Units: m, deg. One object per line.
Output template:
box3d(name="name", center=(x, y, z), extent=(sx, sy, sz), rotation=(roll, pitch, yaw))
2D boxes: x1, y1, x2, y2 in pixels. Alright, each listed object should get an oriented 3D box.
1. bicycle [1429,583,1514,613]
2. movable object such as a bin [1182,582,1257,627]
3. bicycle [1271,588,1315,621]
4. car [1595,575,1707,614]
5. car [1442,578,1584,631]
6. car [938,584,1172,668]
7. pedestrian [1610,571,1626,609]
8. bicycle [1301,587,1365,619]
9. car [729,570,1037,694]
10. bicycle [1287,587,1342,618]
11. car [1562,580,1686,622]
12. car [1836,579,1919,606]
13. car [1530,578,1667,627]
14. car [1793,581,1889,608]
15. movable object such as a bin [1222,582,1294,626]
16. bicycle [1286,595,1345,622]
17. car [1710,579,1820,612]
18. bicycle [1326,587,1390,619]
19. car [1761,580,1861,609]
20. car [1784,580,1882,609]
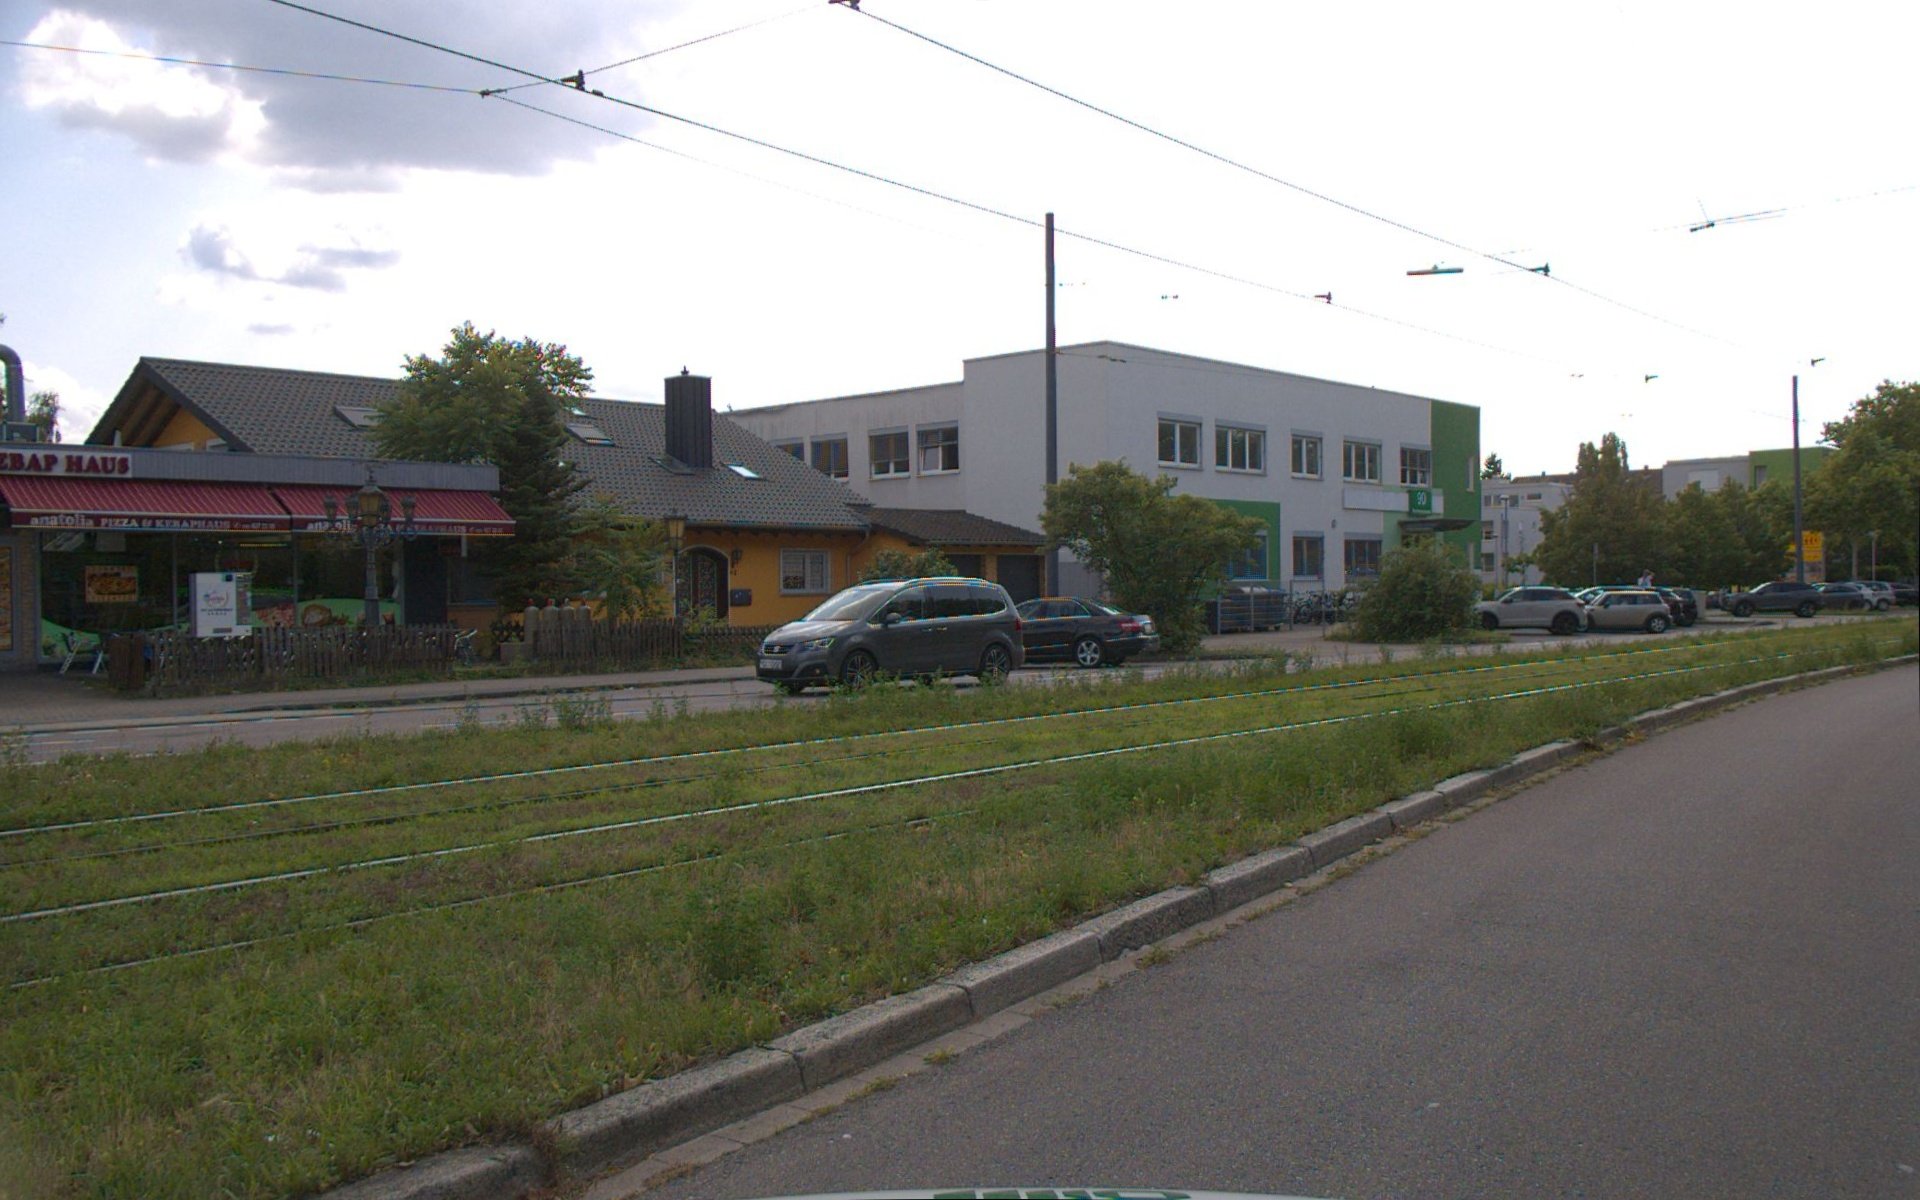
box3d(name="bicycle", center=(20.734, -0.082, 67.042), extent=(3.083, 1.186, 1.137), rotation=(-1, 0, 38))
box3d(name="movable object such as a bin", center=(8.201, 0.135, 52.164), extent=(2.101, 1.349, 1.354), rotation=(-1, 0, -45))
box3d(name="bicycle", center=(12.210, 0.152, 60.667), extent=(0.696, 1.186, 1.604), rotation=(-1, 0, -31))
box3d(name="car", center=(27.887, -0.210, 66.896), extent=(4.070, 1.530, 1.861), rotation=(0, 0, 20))
box3d(name="car", center=(18.364, 0.150, 55.068), extent=(4.209, 1.657, 1.904), rotation=(-1, 0, 9))
box3d(name="car", center=(2.000, 0.540, 34.789), extent=(4.471, 1.608, 2.000), rotation=(-2, 0, 22))
box3d(name="pedestrian", center=(29.903, -0.449, 75.152), extent=(0.585, 1.704, 0.540), rotation=(-1, 0, 33))
box3d(name="bicycle", center=(14.034, 0.118, 62.291), extent=(0.754, 1.186, 2.315), rotation=(-1, 0, -42))
box3d(name="car", center=(-1.120, 0.433, 25.987), extent=(4.703, 1.752, 1.968), rotation=(-1, 0, -43))
box3d(name="bicycle", center=(12.634, 0.098, 58.966), extent=(1.764, 1.100, 0.733), rotation=(-1, 0, 40))
box3d(name="car", center=(24.702, 0.041, 61.623), extent=(4.068, 1.530, 1.862), rotation=(0, 0, 15))
box3d(name="car", center=(49.832, -0.431, 89.363), extent=(4.212, 1.387, 1.902), rotation=(-1, 0, 20))
box3d(name="car", center=(21.941, 0.079, 56.987), extent=(4.209, 1.657, 1.904), rotation=(0, 0, 14))
box3d(name="car", center=(46.404, -0.292, 87.182), extent=(4.212, 1.387, 1.902), rotation=(-1, 0, 20))
box3d(name="movable object such as a bin", center=(9.686, 0.127, 53.755), extent=(2.116, 1.349, 1.354), rotation=(-1, 0, -45))
box3d(name="bicycle", center=(13.270, 0.318, 61.766), extent=(0.725, 0.987, 2.124), rotation=(-1, 0, -44))
box3d(name="car", center=(36.272, -0.206, 74.632), extent=(4.211, 1.387, 1.903), rotation=(-1, 0, 18))
box3d(name="bicycle", center=(15.100, 0.130, 62.852), extent=(0.742, 1.186, 2.382), rotation=(-1, 0, -40))
box3d(name="car", center=(42.526, -0.264, 82.768), extent=(4.212, 1.387, 1.902), rotation=(-1, 0, 20))
box3d(name="car", center=(44.872, -0.275, 85.095), extent=(4.212, 1.387, 1.902), rotation=(-1, 0, 20))
